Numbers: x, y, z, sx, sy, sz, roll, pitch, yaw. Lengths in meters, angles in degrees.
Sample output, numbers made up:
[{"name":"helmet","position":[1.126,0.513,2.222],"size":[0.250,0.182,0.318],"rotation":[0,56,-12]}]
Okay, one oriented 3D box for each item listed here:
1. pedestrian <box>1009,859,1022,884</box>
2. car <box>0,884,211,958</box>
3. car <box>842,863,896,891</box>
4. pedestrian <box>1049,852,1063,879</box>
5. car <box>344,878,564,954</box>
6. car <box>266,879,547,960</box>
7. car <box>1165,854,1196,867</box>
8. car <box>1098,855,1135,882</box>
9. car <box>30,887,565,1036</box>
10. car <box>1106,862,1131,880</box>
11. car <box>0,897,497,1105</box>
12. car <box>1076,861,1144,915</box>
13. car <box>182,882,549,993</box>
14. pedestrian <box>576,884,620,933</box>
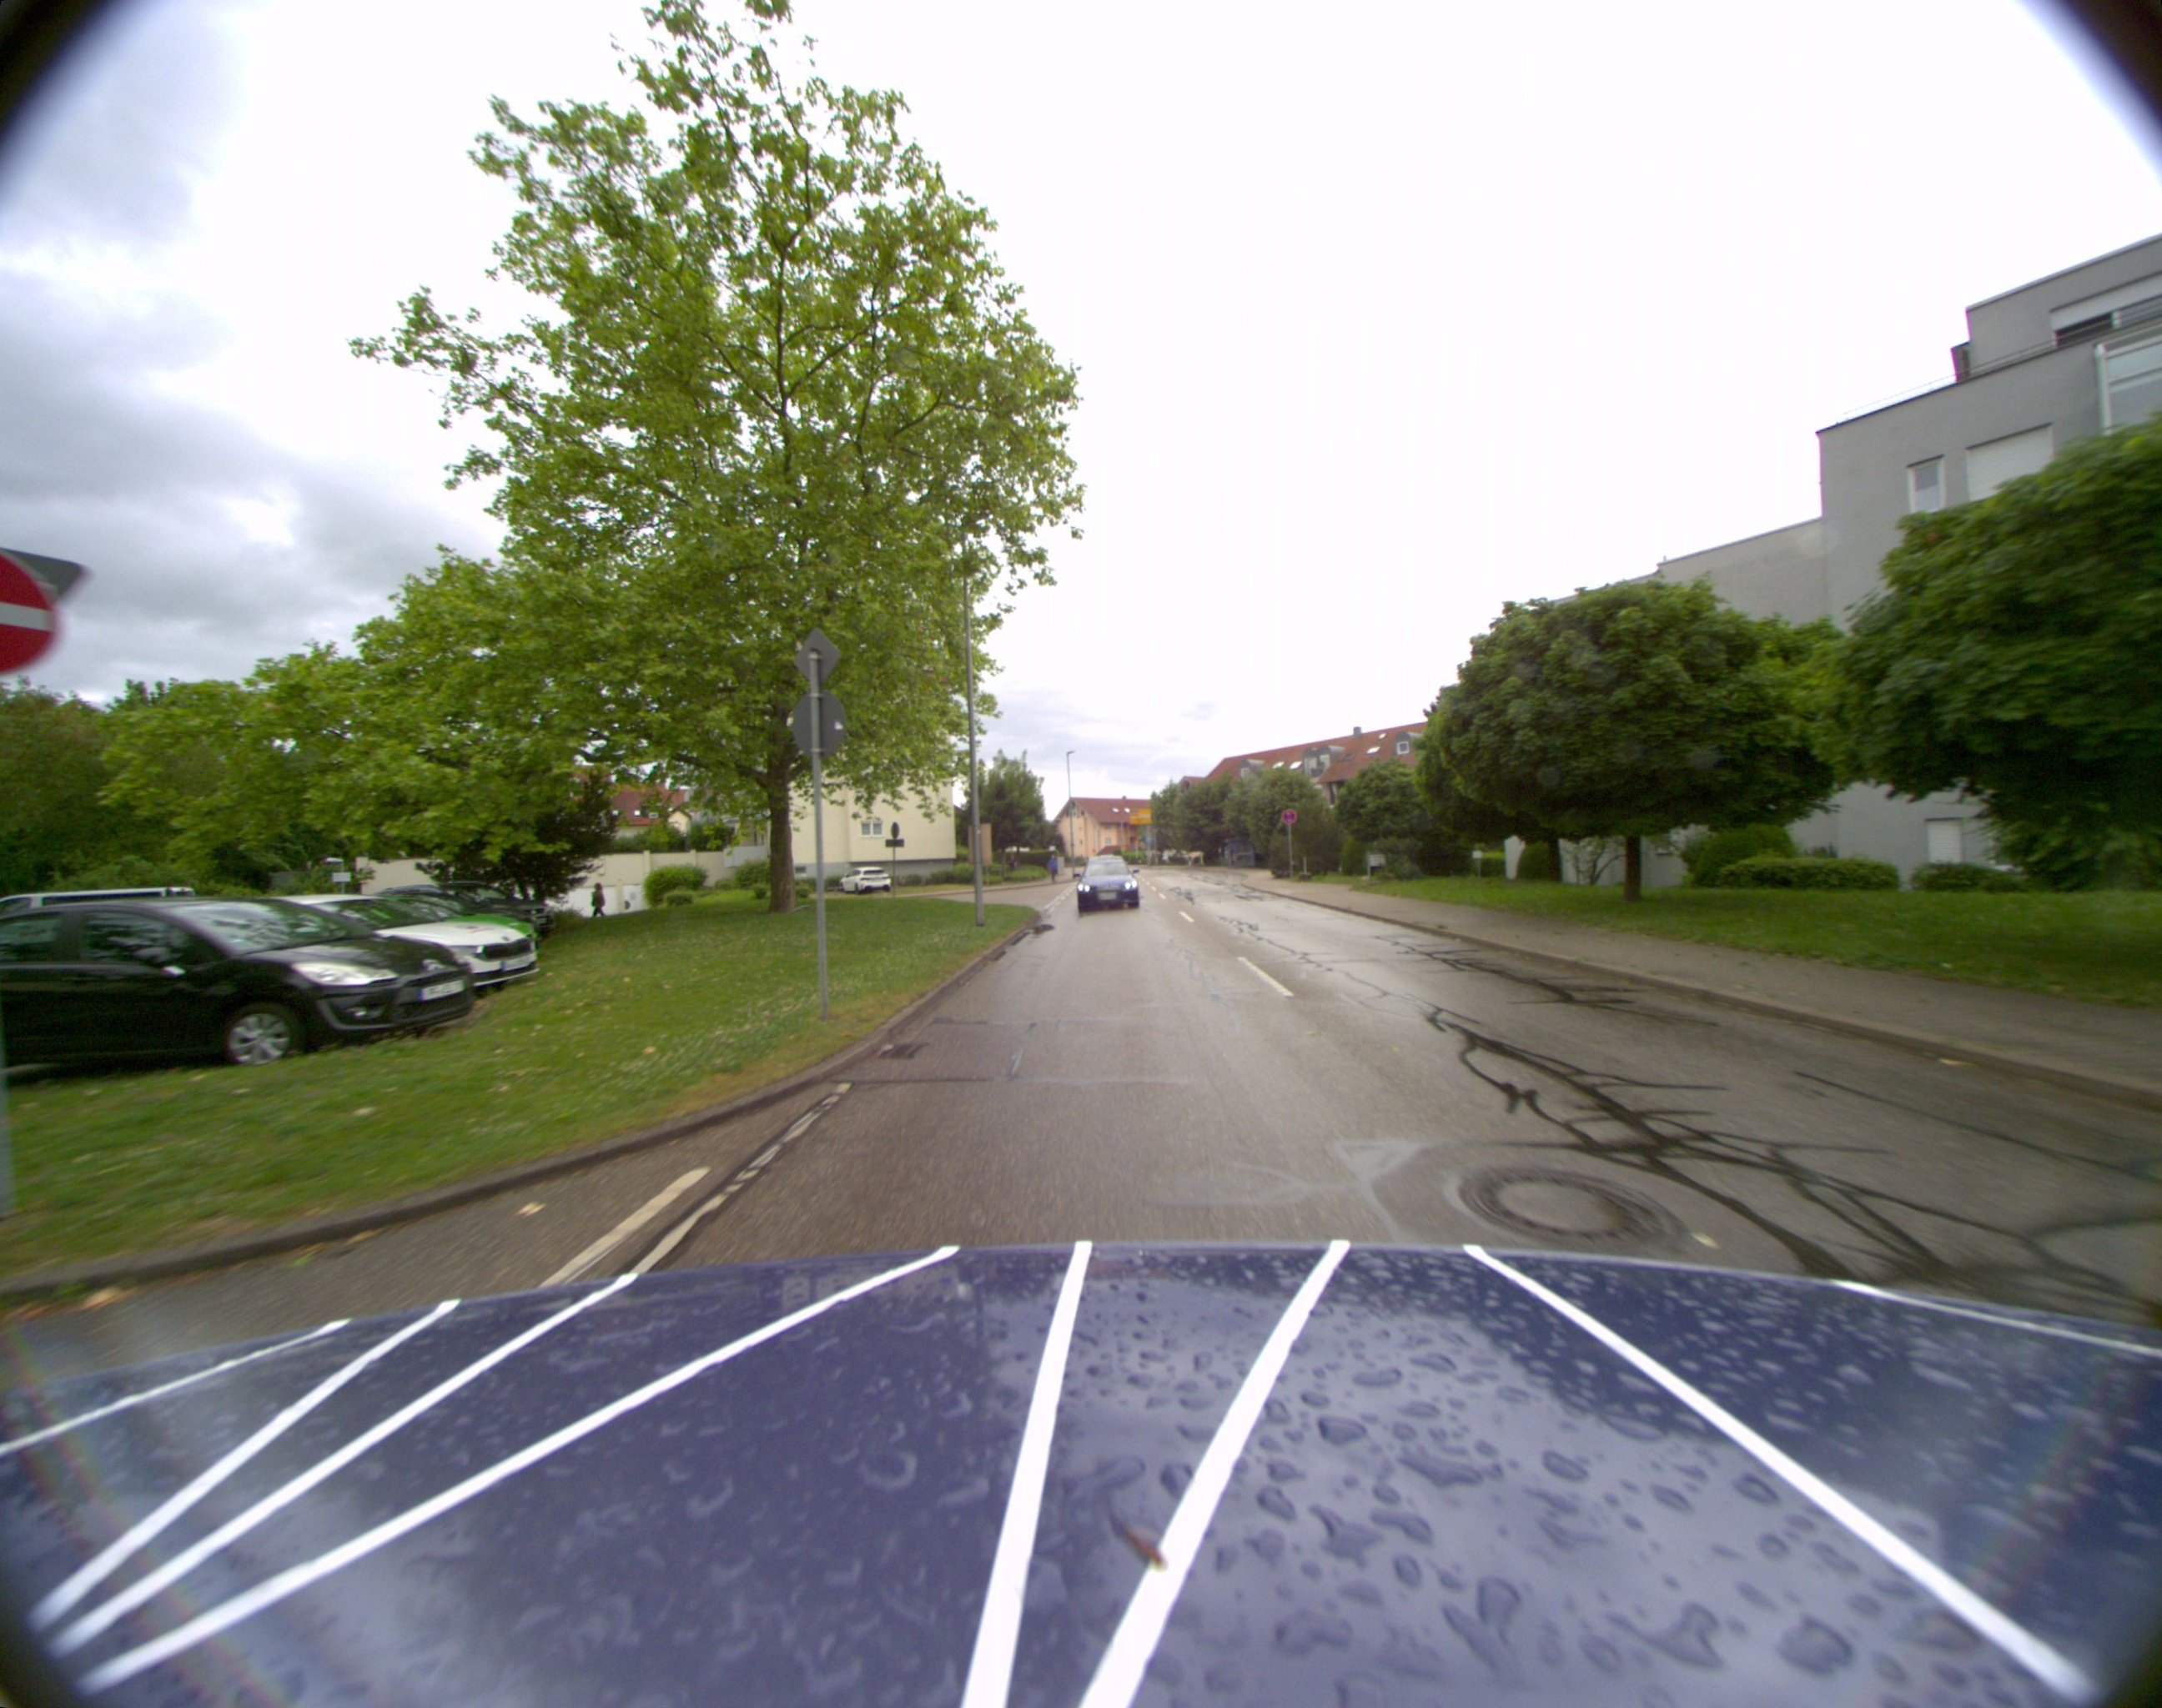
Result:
[{"name":"pedestrian","position":[-4.536,1.214,52.811],"size":[0.616,1.762,0.669],"rotation":[-3,0,-23]},{"name":"car","position":[-32.137,2.119,24.443],"size":[5.004,2.002,2.081],"rotation":[-2,0,-31]},{"name":"car","position":[-11.766,1.256,42.097],"size":[1.749,1.472,3.760],"rotation":[-2,0,-34]},{"name":"pedestrian","position":[-1.581,0.751,47.978],"size":[0.591,1.656,0.774],"rotation":[-4,1,-14]},{"name":"car","position":[-14.961,1.456,18.190],"size":[4.286,1.617,1.766],"rotation":[-2,0,13]},{"name":"car","position":[-13.607,1.285,15.534],"size":[4.021,1.363,1.764],"rotation":[-2,0,-3]},{"name":"car","position":[13.401,0.920,102.051],"size":[1.741,1.592,3.989],"rotation":[-2,0,-38]},{"name":"car","position":[2.143,0.810,45.196],"size":[1.839,1.440,4.002],"rotation":[-3,0,7]},{"name":"car","position":[-9.347,1.231,9.408],"size":[4.585,1.434,1.764],"rotation":[-2,0,-3]},{"name":"car","position":[3.451,1.579,70.767],"size":[1.841,1.541,3.998],"rotation":[-3,0,-4]},{"name":"car","position":[-8.252,1.223,6.774],"size":[4.585,1.434,1.764],"rotation":[-2,0,-3]},{"name":"car","position":[1.006,1.001,24.002],"size":[1.912,1.425,4.302],"rotation":[-2,0,5]},{"name":"car","position":[-11.142,1.262,12.090],"size":[4.021,1.434,1.764],"rotation":[-2,0,-3]},{"name":"pedestrian","position":[-16.484,1.838,25.938],"size":[0.736,1.574,0.952],"rotation":[-2,1,35]}]
